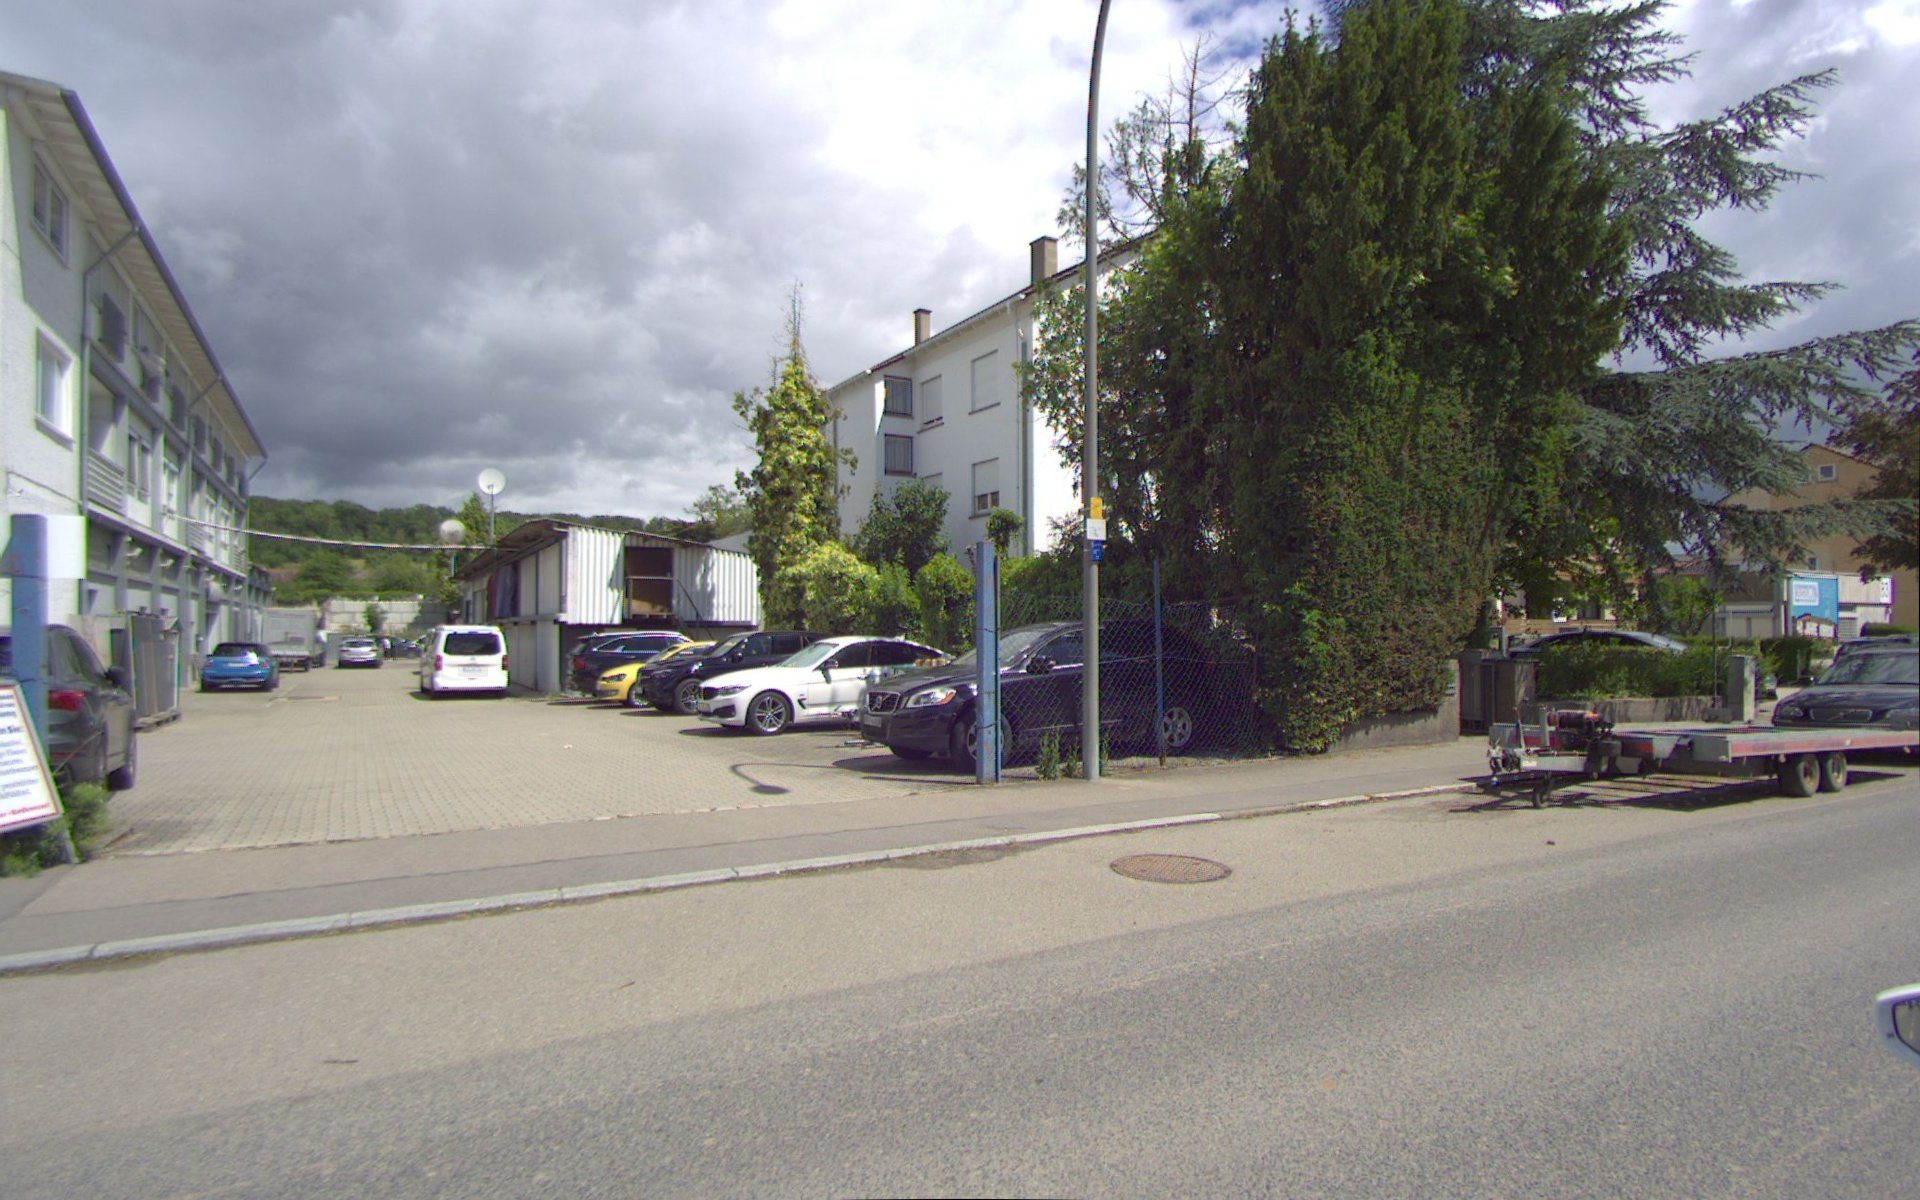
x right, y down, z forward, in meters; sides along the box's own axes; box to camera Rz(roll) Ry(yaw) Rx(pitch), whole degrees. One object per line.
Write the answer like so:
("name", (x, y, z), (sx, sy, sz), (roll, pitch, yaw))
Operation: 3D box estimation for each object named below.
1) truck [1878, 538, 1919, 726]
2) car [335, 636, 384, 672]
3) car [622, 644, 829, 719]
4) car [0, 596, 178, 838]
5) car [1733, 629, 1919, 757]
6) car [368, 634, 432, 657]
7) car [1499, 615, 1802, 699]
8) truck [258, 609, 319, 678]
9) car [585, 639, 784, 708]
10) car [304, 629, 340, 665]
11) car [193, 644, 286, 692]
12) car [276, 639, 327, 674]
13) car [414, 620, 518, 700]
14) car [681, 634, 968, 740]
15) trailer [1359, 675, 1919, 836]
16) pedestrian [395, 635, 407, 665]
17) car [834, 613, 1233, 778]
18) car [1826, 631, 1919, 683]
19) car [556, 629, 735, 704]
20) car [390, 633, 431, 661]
("truck", (19.214, 0.546, 17.736), (7.731, 3.042, 2.312), (1, -4, -32))
("car", (-29.500, 2.608, 49.288), (1.978, 1.692, 3.965), (1, -3, -32))
("car", (-4.838, 1.643, 20.963), (3.913, 1.402, 1.617), (2, -4, -39))
("car", (-8.196, 0.862, 8.553), (1.978, 1.692, 4.135), (1, -2, -32))
("car", (12.797, 1.197, 13.601), (4.755, 1.471, 1.985), (1, -5, -30))
("car", (-40.835, 3.291, 73.302), (3.958, 1.535, 1.982), (2, 0, -33))
("car", (14.489, 1.157, 21.429), (1.950, 1.572, 4.983), (2, -2, -31))
("truck", (-29.192, 1.879, 43.724), (2.068, 2.863, 3.964), (1, -3, -33))
("car", (-6.442, 1.672, 23.622), (4.197, 1.489, 1.797), (1, -3, -33))
("car", (-37.891, 2.787, 59.613), (1.691, 2.040, 3.964), (1, -3, -33))
("car", (-21.390, 1.987, 29.956), (1.978, 1.313, 3.965), (1, -3, -32))
("car", (-31.347, 2.670, 47.920), (1.928, 1.594, 3.965), (1, -3, -32))
("car", (-13.938, 1.641, 28.225), (1.981, 2.053, 4.096), (1, -3, -35))
("car", (-2.188, 1.343, 16.661), (4.401, 1.526, 1.797), (1, -2, -33))
("trailer", (7.496, 1.362, 10.293), (7.371, 1.003, 2.308), (1, -3, -30))
("pedestrian", (-37.946, 3.374, 68.187), (0.724, 2.040, 0.742), (1, -2, -30))
("car", (0.950, 1.034, 12.077), (4.578, 1.656, 1.799), (1, -3, -30))
("car", (29.372, 1.783, 31.965), (4.045, 1.563, 1.756), (1, -2, -34))
("car", (-7.913, 1.623, 25.364), (4.009, 1.745, 1.797), (1, -3, -33))
("car", (-34.476, 2.926, 63.017), (1.978, 1.676, 3.965), (2, -2, -32))
